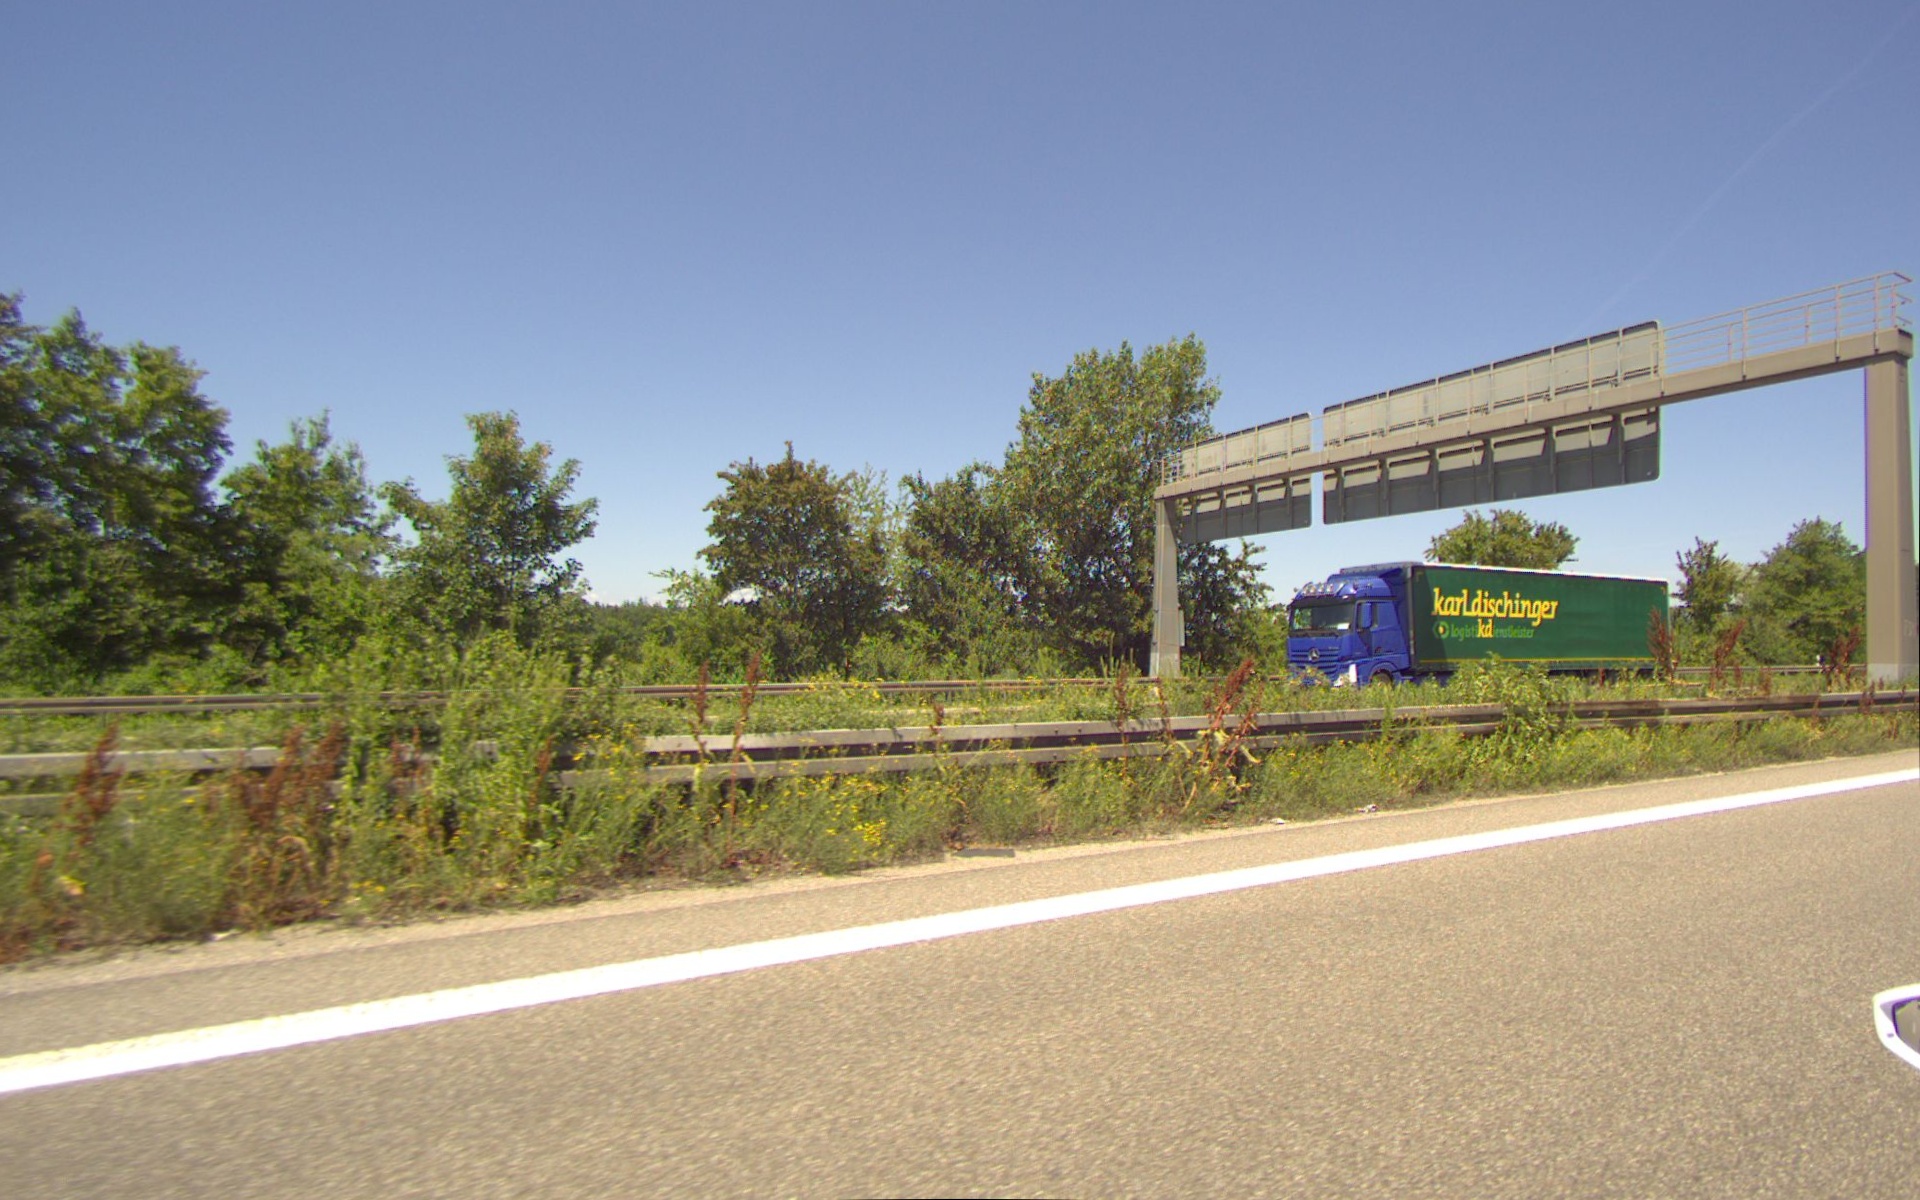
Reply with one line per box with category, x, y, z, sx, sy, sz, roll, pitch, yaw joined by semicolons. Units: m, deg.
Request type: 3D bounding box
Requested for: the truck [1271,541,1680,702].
truck;17.804;0.879;33.418;18.029;4.399;2.941;2;-3;-31
